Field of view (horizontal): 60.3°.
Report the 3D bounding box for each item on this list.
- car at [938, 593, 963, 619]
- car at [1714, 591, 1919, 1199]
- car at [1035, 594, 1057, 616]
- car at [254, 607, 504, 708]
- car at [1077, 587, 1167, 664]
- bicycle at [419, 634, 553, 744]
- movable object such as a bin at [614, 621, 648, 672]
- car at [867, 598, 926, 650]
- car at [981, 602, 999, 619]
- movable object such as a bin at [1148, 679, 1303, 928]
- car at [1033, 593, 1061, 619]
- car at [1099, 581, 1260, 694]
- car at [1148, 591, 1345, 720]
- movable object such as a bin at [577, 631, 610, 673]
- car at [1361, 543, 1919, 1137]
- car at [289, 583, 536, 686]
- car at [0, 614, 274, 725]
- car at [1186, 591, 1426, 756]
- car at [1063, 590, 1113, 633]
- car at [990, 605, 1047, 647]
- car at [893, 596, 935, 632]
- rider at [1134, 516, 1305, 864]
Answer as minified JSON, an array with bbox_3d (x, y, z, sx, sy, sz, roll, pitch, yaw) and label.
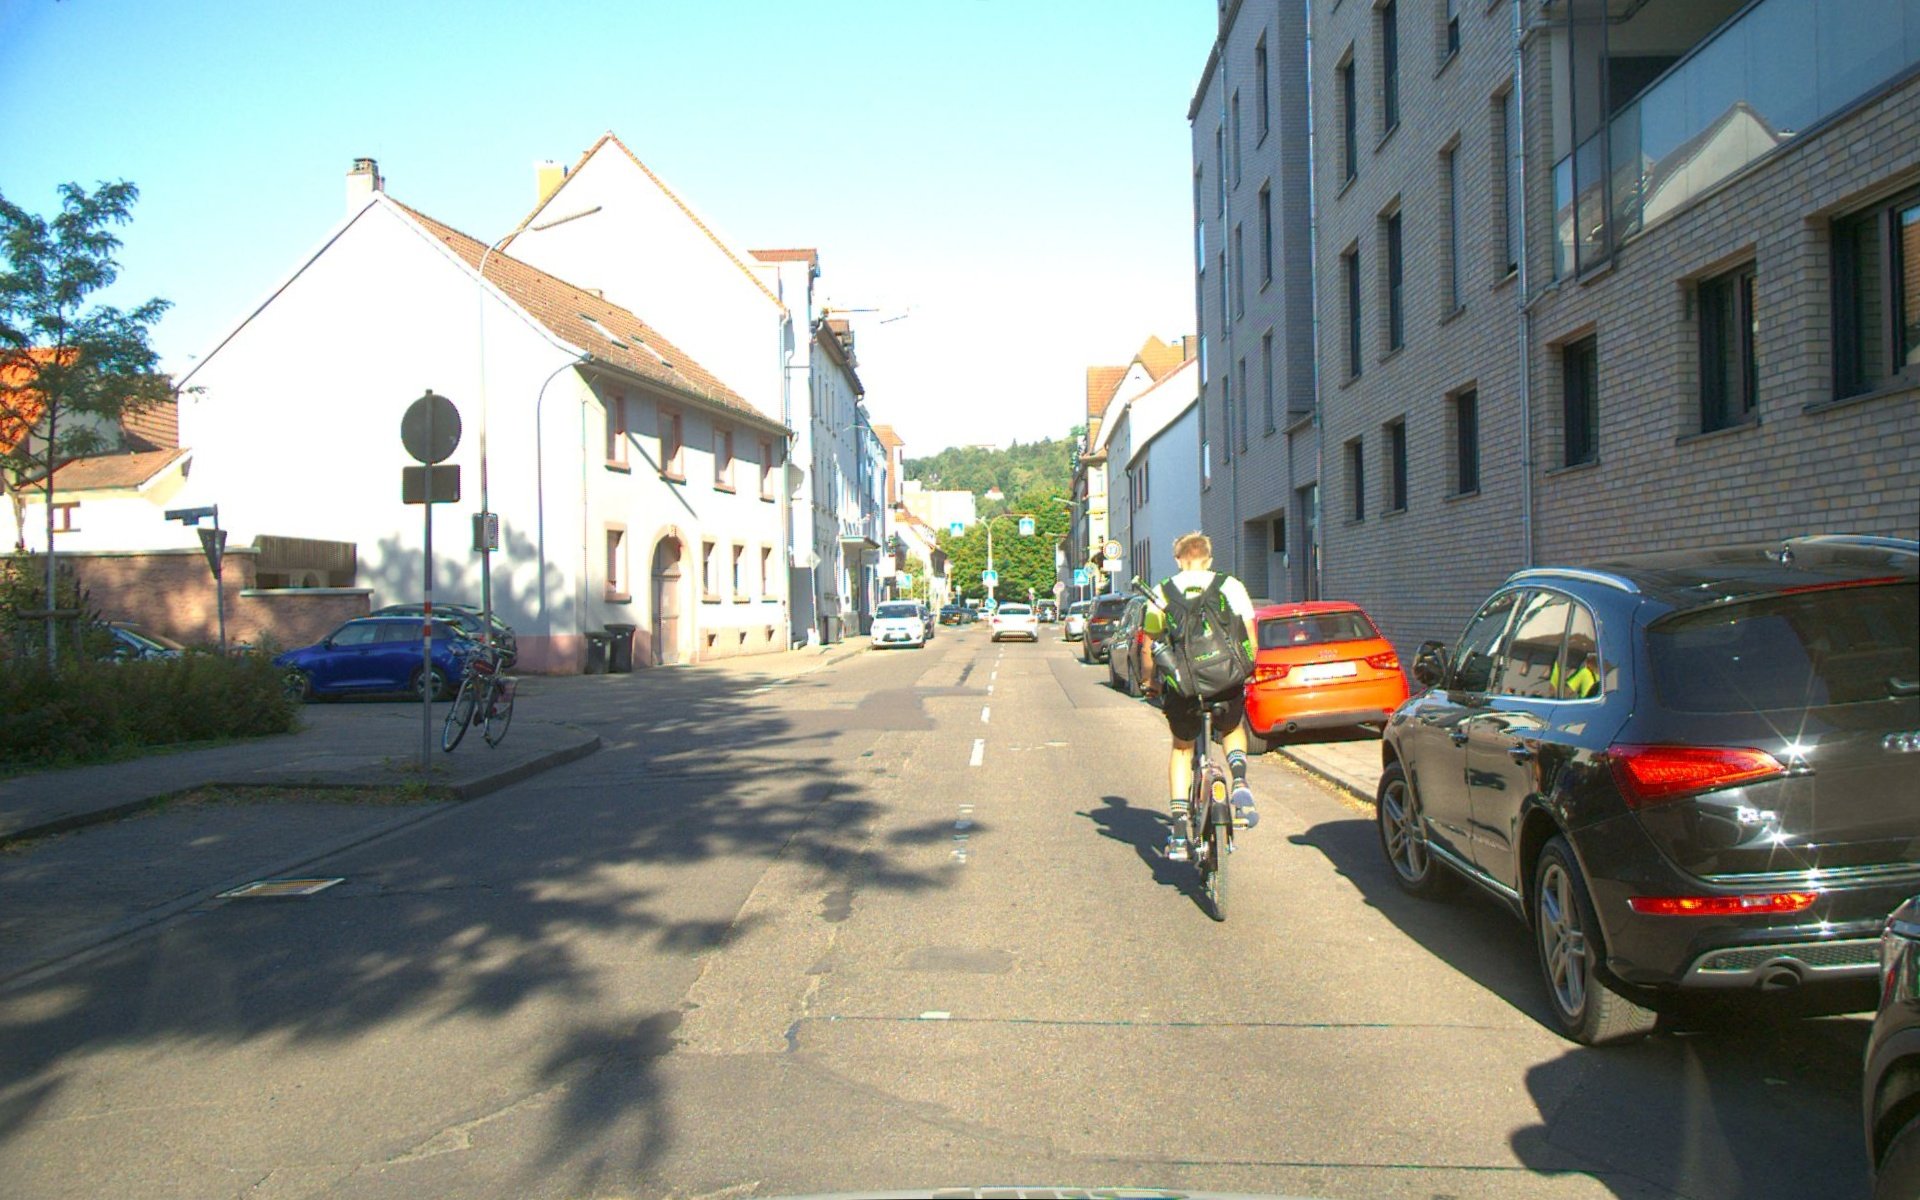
[{"bbox_3d":[-0.749,0.478,134.712,1.953,2.049,4.000,-1,0,0],"label":"car"},{"bbox_3d":[2.467,0.705,1.238,1.779,1.492,4.269,-2,0,-1],"label":"car"},{"bbox_3d":[7.303,0.410,140.317,1.780,1.659,4.002,-3,1,4],"label":"car"},{"bbox_3d":[-10.369,1.004,29.735,3.689,1.556,2.001,-3,1,2],"label":"car"},{"bbox_3d":[3.924,0.581,40.825,1.816,1.664,4.624,-4,0,2],"label":"car"},{"bbox_3d":[-4.863,0.890,17.097,0.689,1.020,1.942,-1,0,4],"label":"bicycle"},{"bbox_3d":[-7.349,1.034,36.989,0.586,1.113,0.751,-1,0,2],"label":"movable object such as a bin"},{"bbox_3d":[-2.196,0.806,58.235,1.953,1.676,5.220,-1,0,-1],"label":"car"},{"bbox_3d":[3.358,1.190,186.593,1.771,1.731,4.190,-4,0,-2],"label":"car"},{"bbox_3d":[1.286,0.947,8.269,0.445,1.051,1.840,1,-1,-1],"label":"movable object such as a bin"},{"bbox_3d":[6.752,0.453,128.962,1.969,1.885,4.000,0,1,0],"label":"car"},{"bbox_3d":[3.590,0.544,27.914,1.953,1.682,4.761,-2,1,-1],"label":"car"},{"bbox_3d":[3.822,0.682,22.801,1.953,1.532,4.367,-2,0,0],"label":"car"},{"bbox_3d":[-8.003,1.136,36.170,0.586,0.887,0.606,-1,0,-1],"label":"movable object such as a bin"},{"bbox_3d":[3.078,0.669,7.221,1.850,1.742,4.777,-2,1,5],"label":"car"},{"bbox_3d":[-11.005,0.664,33.456,4.272,1.825,1.989,2,3,2],"label":"car"},{"bbox_3d":[-14.765,1.223,29.741,3.905,1.526,2.001,-5,2,2],"label":"car"},{"bbox_3d":[3.594,0.697,17.881,1.678,1.428,4.073,-5,0,1],"label":"car"},{"bbox_3d":[4.917,0.437,64.204,1.705,1.518,4.440,-3,0,2],"label":"car"},{"bbox_3d":[2.184,0.976,63.039,1.953,1.492,3.999,-2,0,-1],"label":"car"},{"bbox_3d":[-2.054,0.629,74.782,1.695,1.525,3.959,-2,-1,0],"label":"car"},{"bbox_3d":[1.256,0.427,8.186,0.640,1.589,1.083,1,-2,-1],"label":"rider"}]
